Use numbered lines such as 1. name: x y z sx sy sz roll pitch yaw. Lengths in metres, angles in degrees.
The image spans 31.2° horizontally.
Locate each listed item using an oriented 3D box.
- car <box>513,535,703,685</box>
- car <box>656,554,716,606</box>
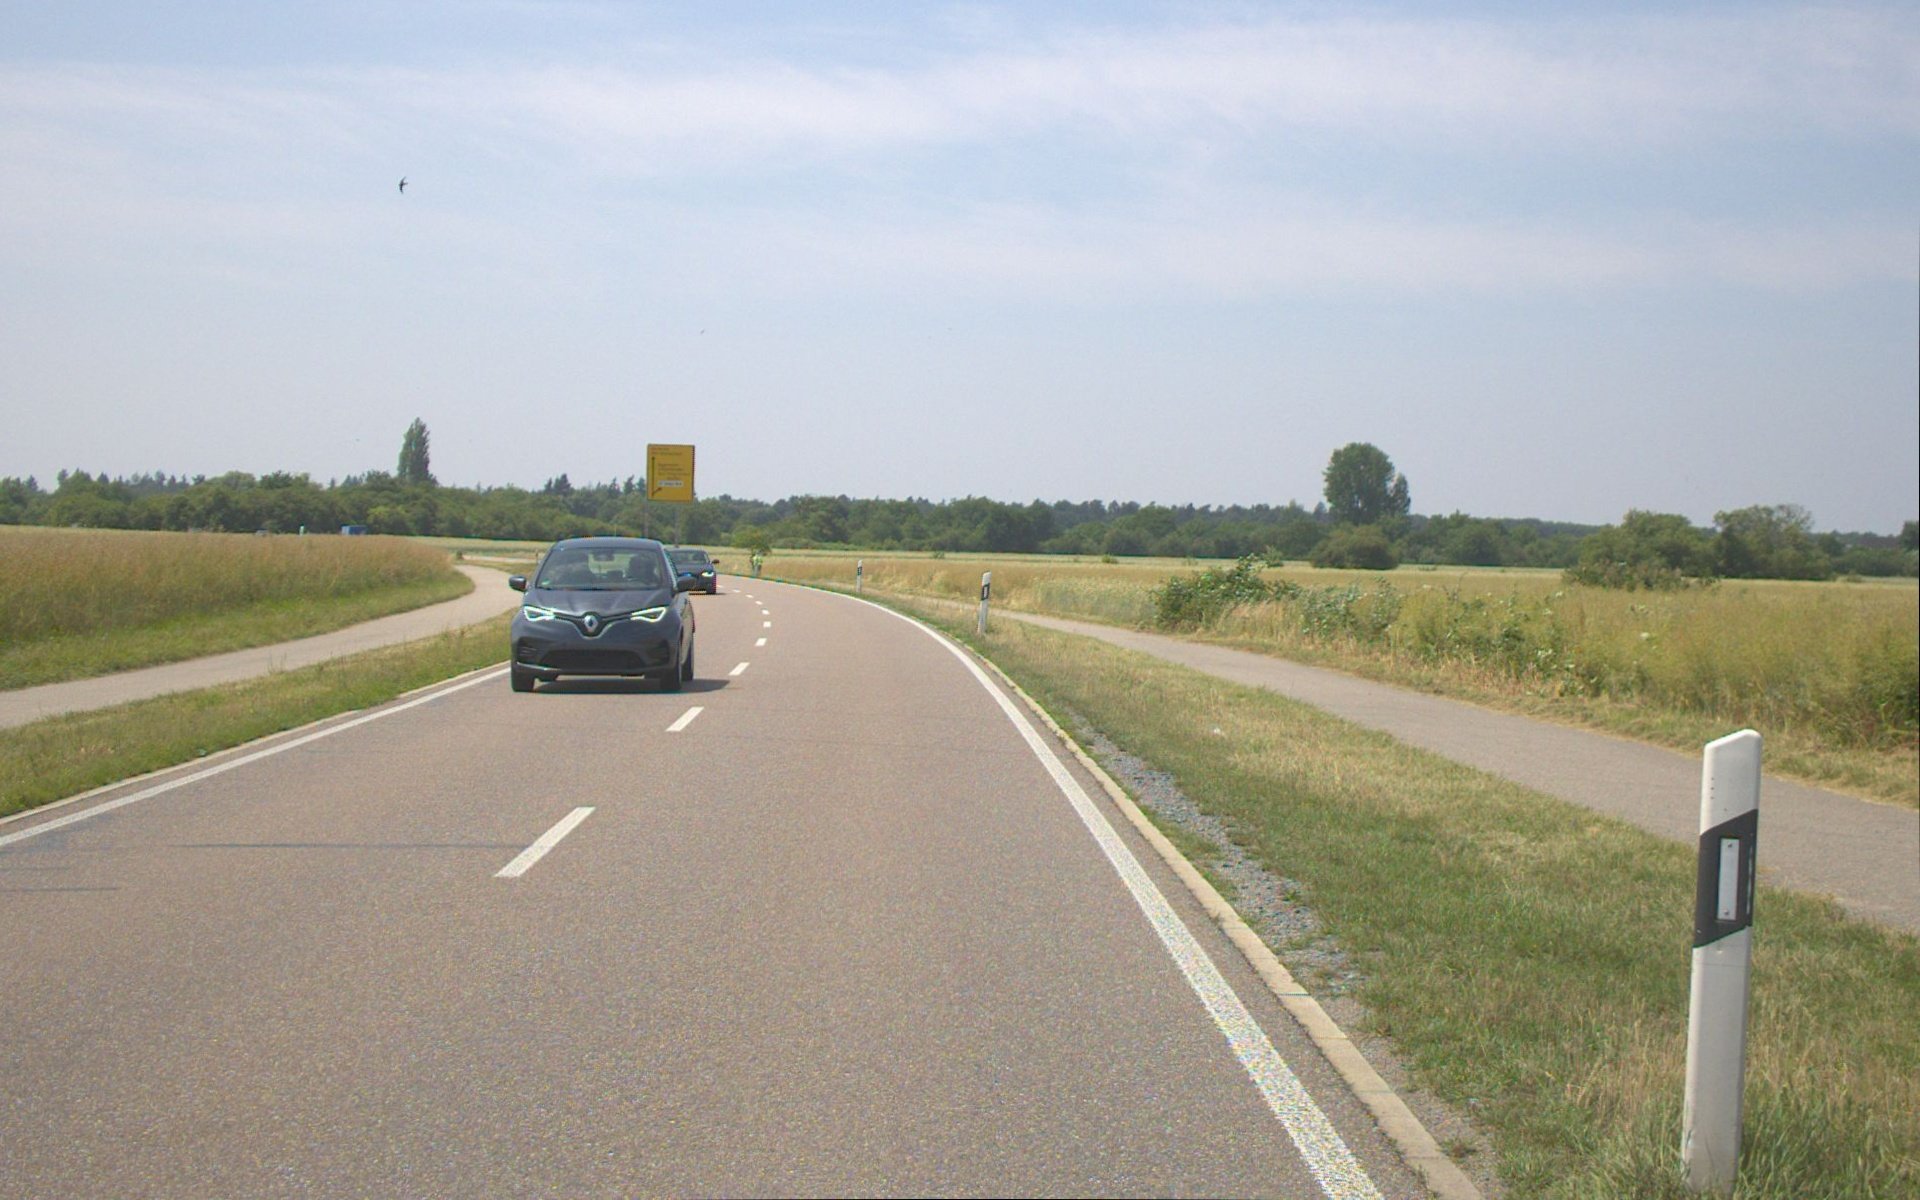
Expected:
1. car: -3.636 0.088 36.063 1.623 1.486 4.000 0 0 -1
2. car: -8.411 -0.606 105.376 1.711 1.581 3.503 0 0 -6
